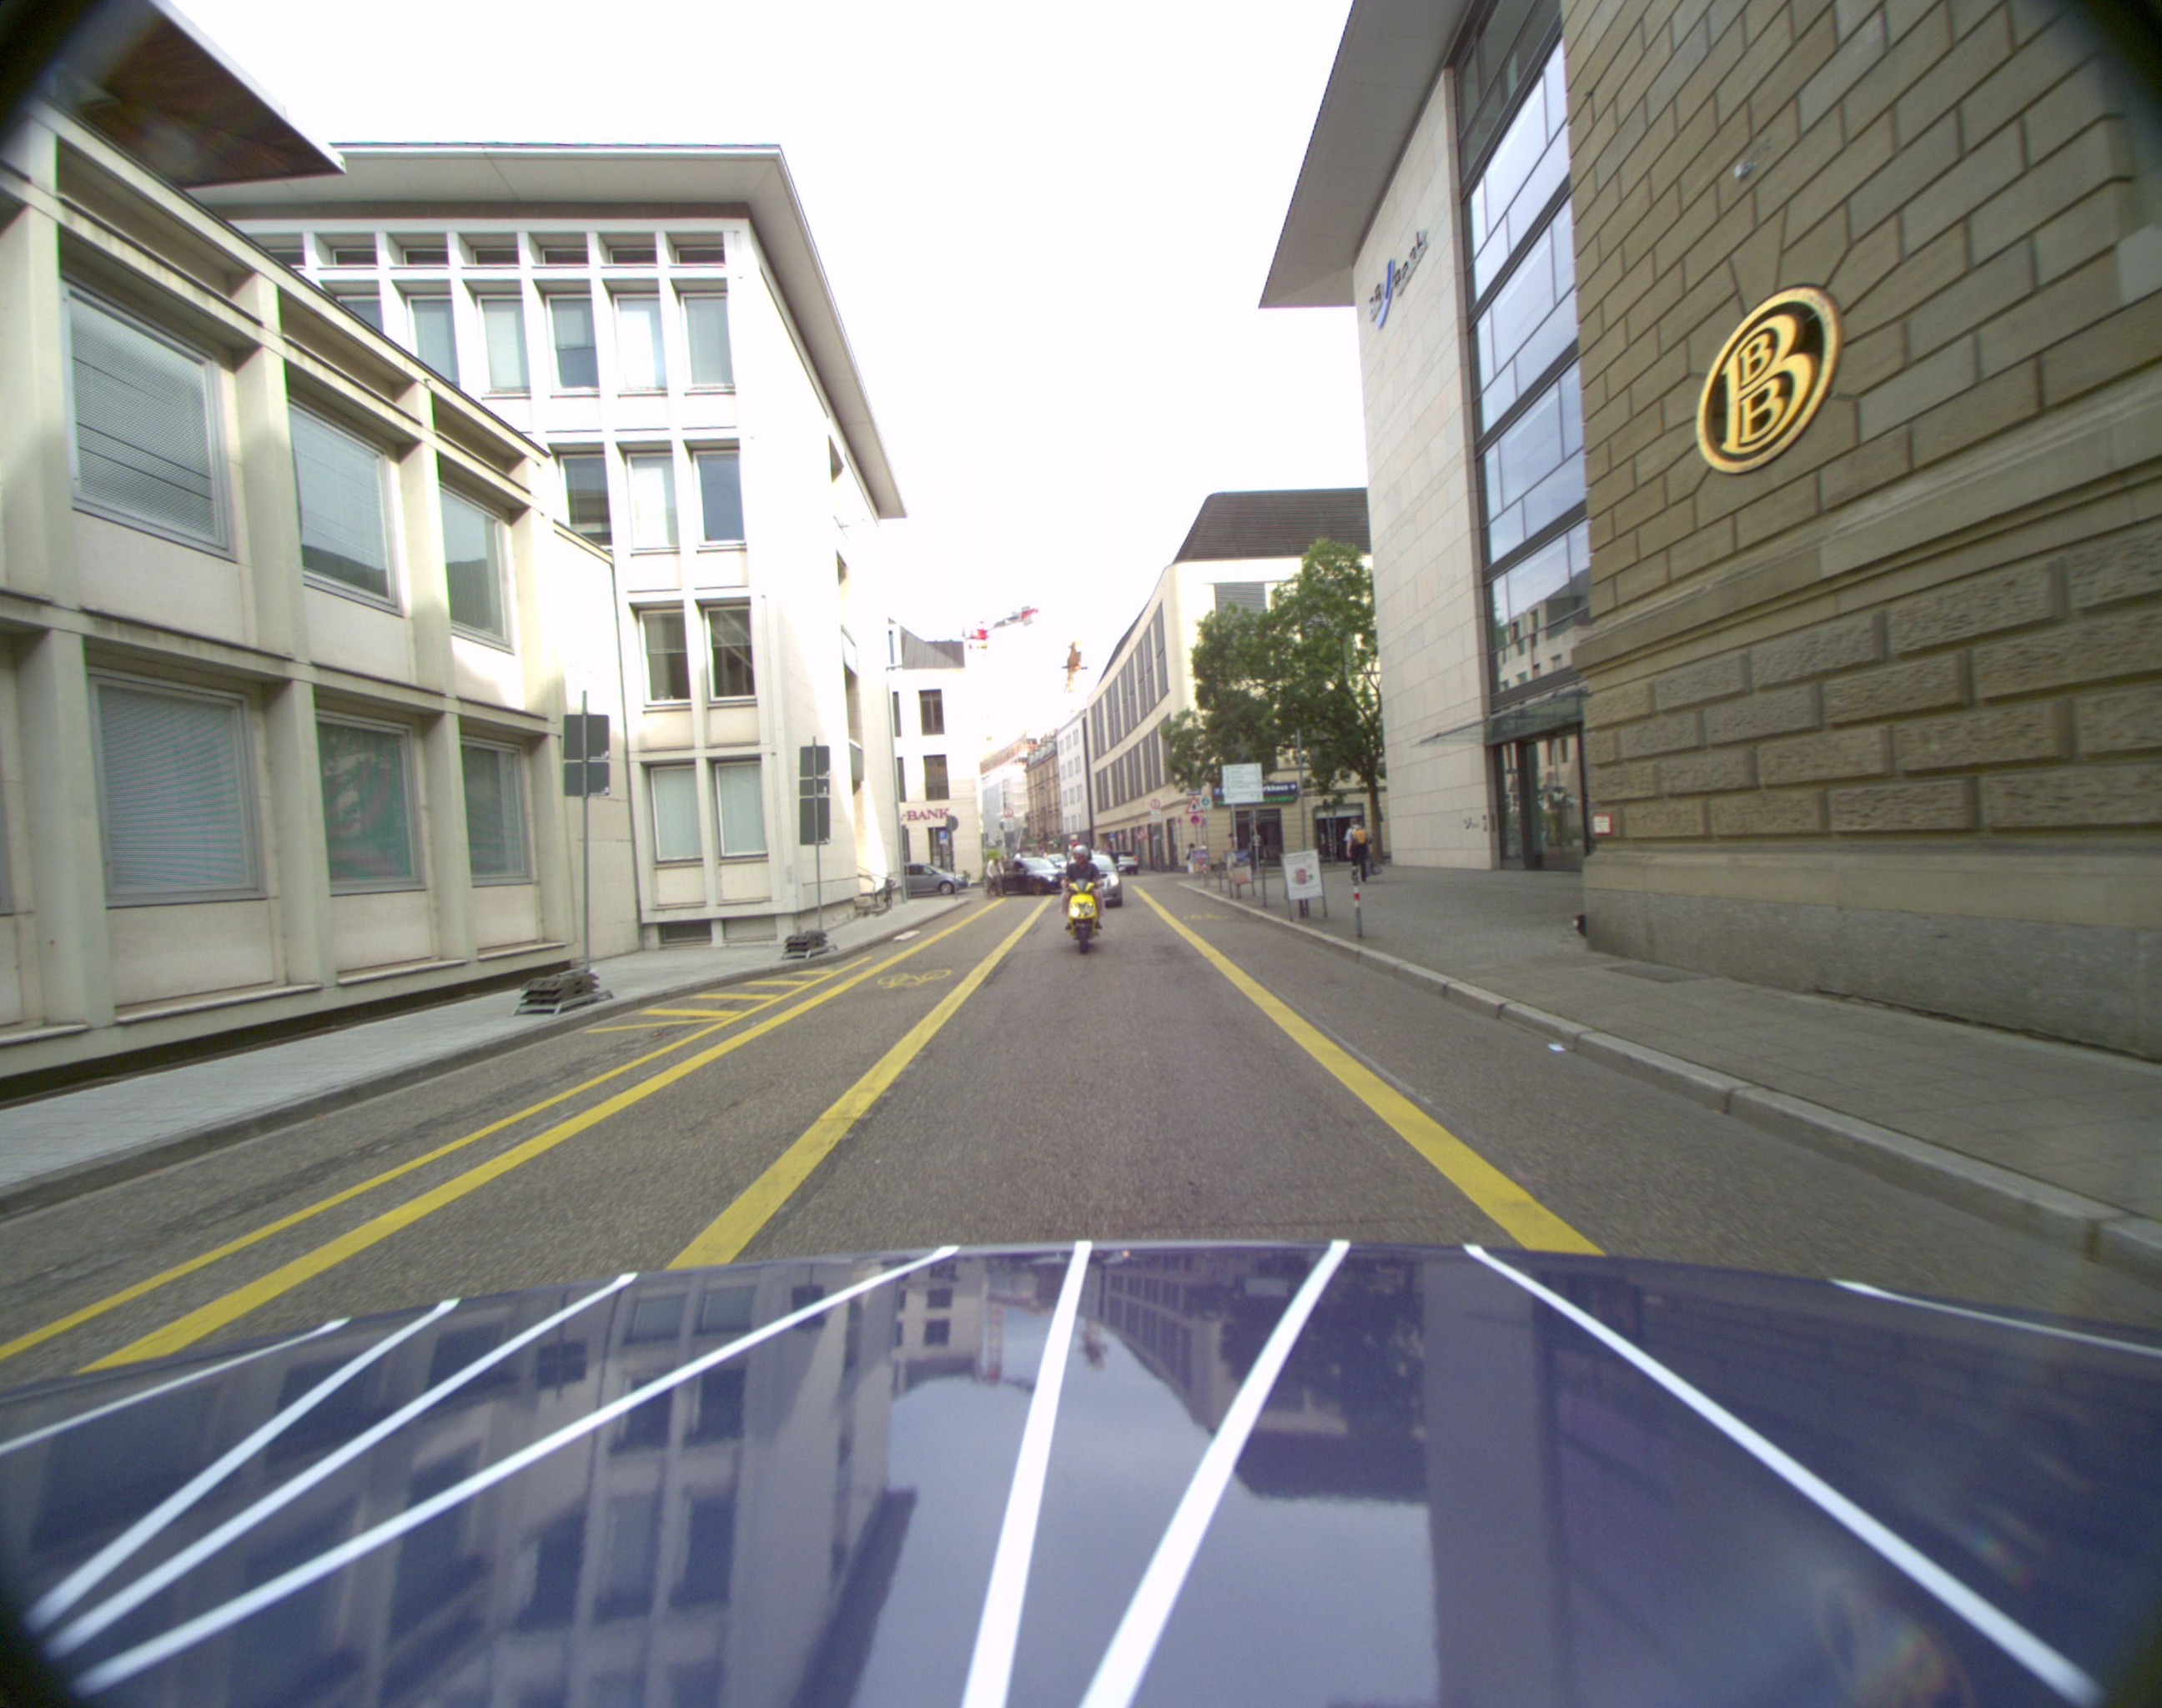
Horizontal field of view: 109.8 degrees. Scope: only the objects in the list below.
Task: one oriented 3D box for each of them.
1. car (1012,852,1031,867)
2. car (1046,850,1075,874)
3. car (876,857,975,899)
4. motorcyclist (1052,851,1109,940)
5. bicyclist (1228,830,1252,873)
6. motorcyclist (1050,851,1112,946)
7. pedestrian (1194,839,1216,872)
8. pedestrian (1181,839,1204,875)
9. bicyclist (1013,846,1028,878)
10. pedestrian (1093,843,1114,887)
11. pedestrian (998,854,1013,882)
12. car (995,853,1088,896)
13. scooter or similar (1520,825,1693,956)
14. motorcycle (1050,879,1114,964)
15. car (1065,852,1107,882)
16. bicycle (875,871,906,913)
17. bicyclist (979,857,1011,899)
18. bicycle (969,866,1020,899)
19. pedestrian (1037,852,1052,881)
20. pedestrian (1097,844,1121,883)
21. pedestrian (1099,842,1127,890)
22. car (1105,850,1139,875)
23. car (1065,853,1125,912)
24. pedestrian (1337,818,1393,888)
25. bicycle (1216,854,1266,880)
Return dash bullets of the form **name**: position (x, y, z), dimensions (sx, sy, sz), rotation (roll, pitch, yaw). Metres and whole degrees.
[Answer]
- **car**: position (-6.791, 0.605, 86.415), dimensions (1.590, 1.477, 3.995), rotation (-4, 1, -12)
- **car**: position (-1.501, 0.517, 53.769), dimensions (1.563, 1.548, 4.100), rotation (-4, 1, -7)
- **car**: position (-7.261, 1.100, 35.828), dimensions (4.193, 1.581, 1.814), rotation (-4, 1, -2)
- **motorcyclist**: position (-0.002, 0.678, 12.904), dimensions (0.903, 1.445, 0.742), rotation (-2, 1, 1)
- **bicyclist**: position (6.206, -0.106, 29.672), dimensions (0.642, 1.610, 0.623), rotation (-6, 0, 24)
- **motorcyclist**: position (-0.004, 0.686, 12.330), dimensions (0.924, 1.445, 1.065), rotation (-2, 1, 0)
- **pedestrian**: position (7.095, 0.088, 43.427), dimensions (1.059, 1.755, 0.893), rotation (-7, 1, 11)
- **pedestrian**: position (5.699, 0.147, 38.881), dimensions (0.879, 1.699, 0.910), rotation (-7, 1, 0)
- **bicyclist**: position (-3.006, 0.396, 37.842), dimensions (0.586, 1.586, 0.663), rotation (-3, 1, -2)
- **pedestrian**: position (0.914, 0.459, 31.232), dimensions (0.644, 1.755, 0.653), rotation (-4, 1, -11)
- **pedestrian**: position (-5.065, 0.924, 51.156), dimensions (0.861, 1.820, 0.773), rotation (-4, 1, -6)
- **car**: position (-1.606, 0.814, 30.030), dimensions (1.720, 1.482, 3.755), rotation (-5, 1, -38)
- **scooter or similar**: position (6.019, 0.411, 8.751), dimensions (1.450, 1.303, 0.587), rotation (-7, 0, 0)
- **motorcycle**: position (0.019, 1.052, 12.484), dimensions (0.929, 1.159, 2.127), rotation (-2, 0, 0)
- **car**: position (0.236, 0.708, 42.620), dimensions (1.710, 1.482, 4.100), rotation (-4, 1, -8)
- **bicycle**: position (-5.966, 1.173, 23.869), dimensions (0.590, 1.161, 1.814), rotation (-3, 1, -4)
- **bicyclist**: position (-3.393, 0.923, 29.944), dimensions (0.894, 1.585, 0.875), rotation (-4, 2, -30)
- **bicycle**: position (-3.470, 1.115, 30.104), dimensions (0.872, 1.188, 2.857), rotation (-4, 1, -30)
- **pedestrian**: position (-2.415, 0.823, 50.454), dimensions (0.861, 1.820, 0.773), rotation (-3, 1, -5)
- **pedestrian**: position (1.331, 0.434, 36.644), dimensions (0.774, 1.820, 0.860), rotation (-4, 1, -20)
- **pedestrian**: position (1.289, 0.473, 30.386), dimensions (0.745, 1.804, 0.756), rotation (-7, 2, -11)
- **car**: position (2.719, 0.551, 51.170), dimensions (1.563, 1.548, 4.100), rotation (-4, 1, -7)
- **car**: position (0.449, 0.774, 22.444), dimensions (1.562, 1.482, 3.784), rotation (-2, 1, 2)
- **pedestrian**: position (7.523, -0.032, 20.164), dimensions (1.028, 1.710, 0.818), rotation (-6, 1, 1)
- **bicycle**: position (6.257, 0.505, 29.687), dimensions (1.721, 0.829, 0.602), rotation (-7, -2, 24)
